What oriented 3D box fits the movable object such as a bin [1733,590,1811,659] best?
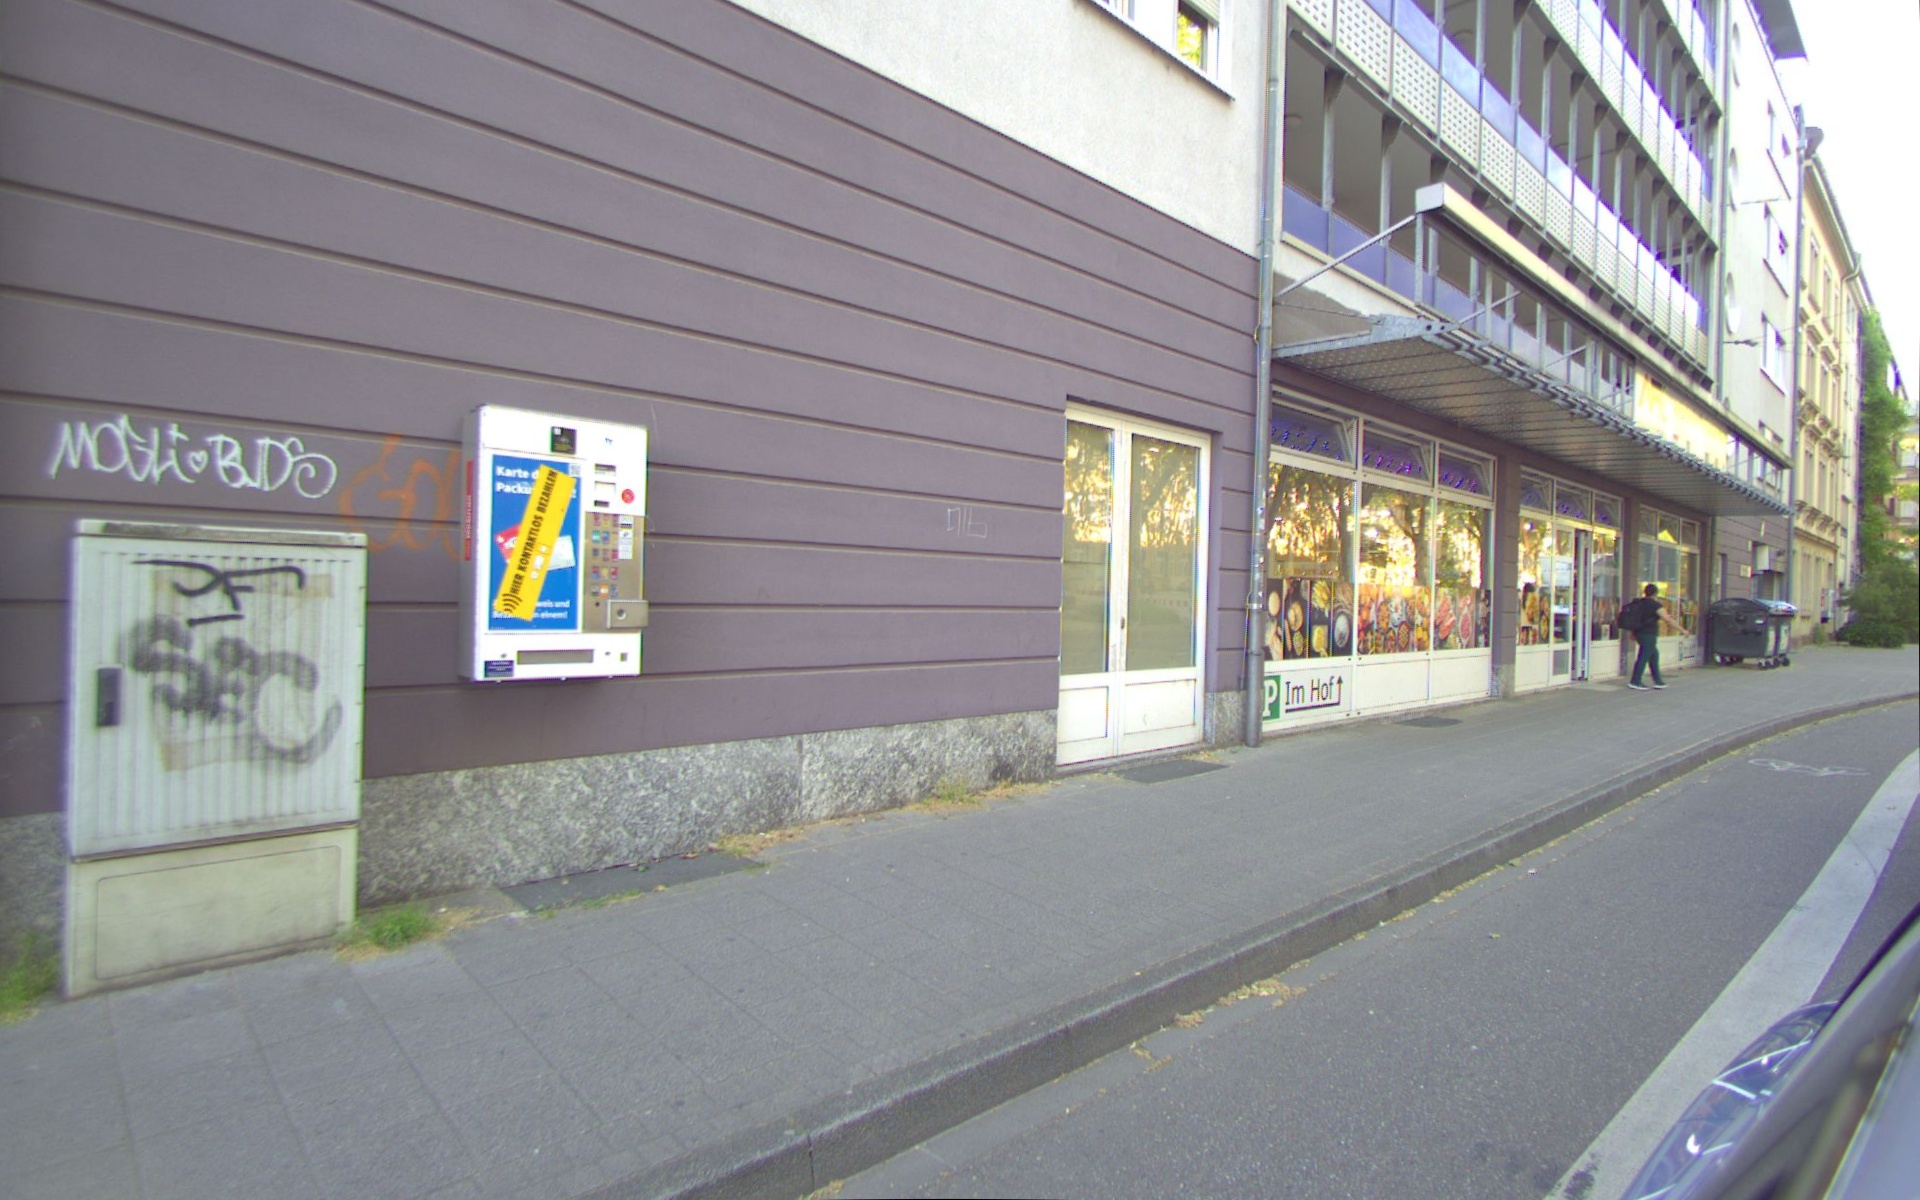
[{"bbox_3d":[17.769,0.519,22.147,0.923,1.444,1.158,1,1,-40],"label":"movable object such as a bin"}]

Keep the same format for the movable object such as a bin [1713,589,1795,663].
[{"bbox_3d":[16.302,0.521,20.781,0.923,1.444,1.158,1,1,-40],"label":"movable object such as a bin"}]

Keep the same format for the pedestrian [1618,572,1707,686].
[{"bbox_3d":[10.236,0.401,14.756,0.610,1.612,0.865,1,1,-32],"label":"pedestrian"}]
